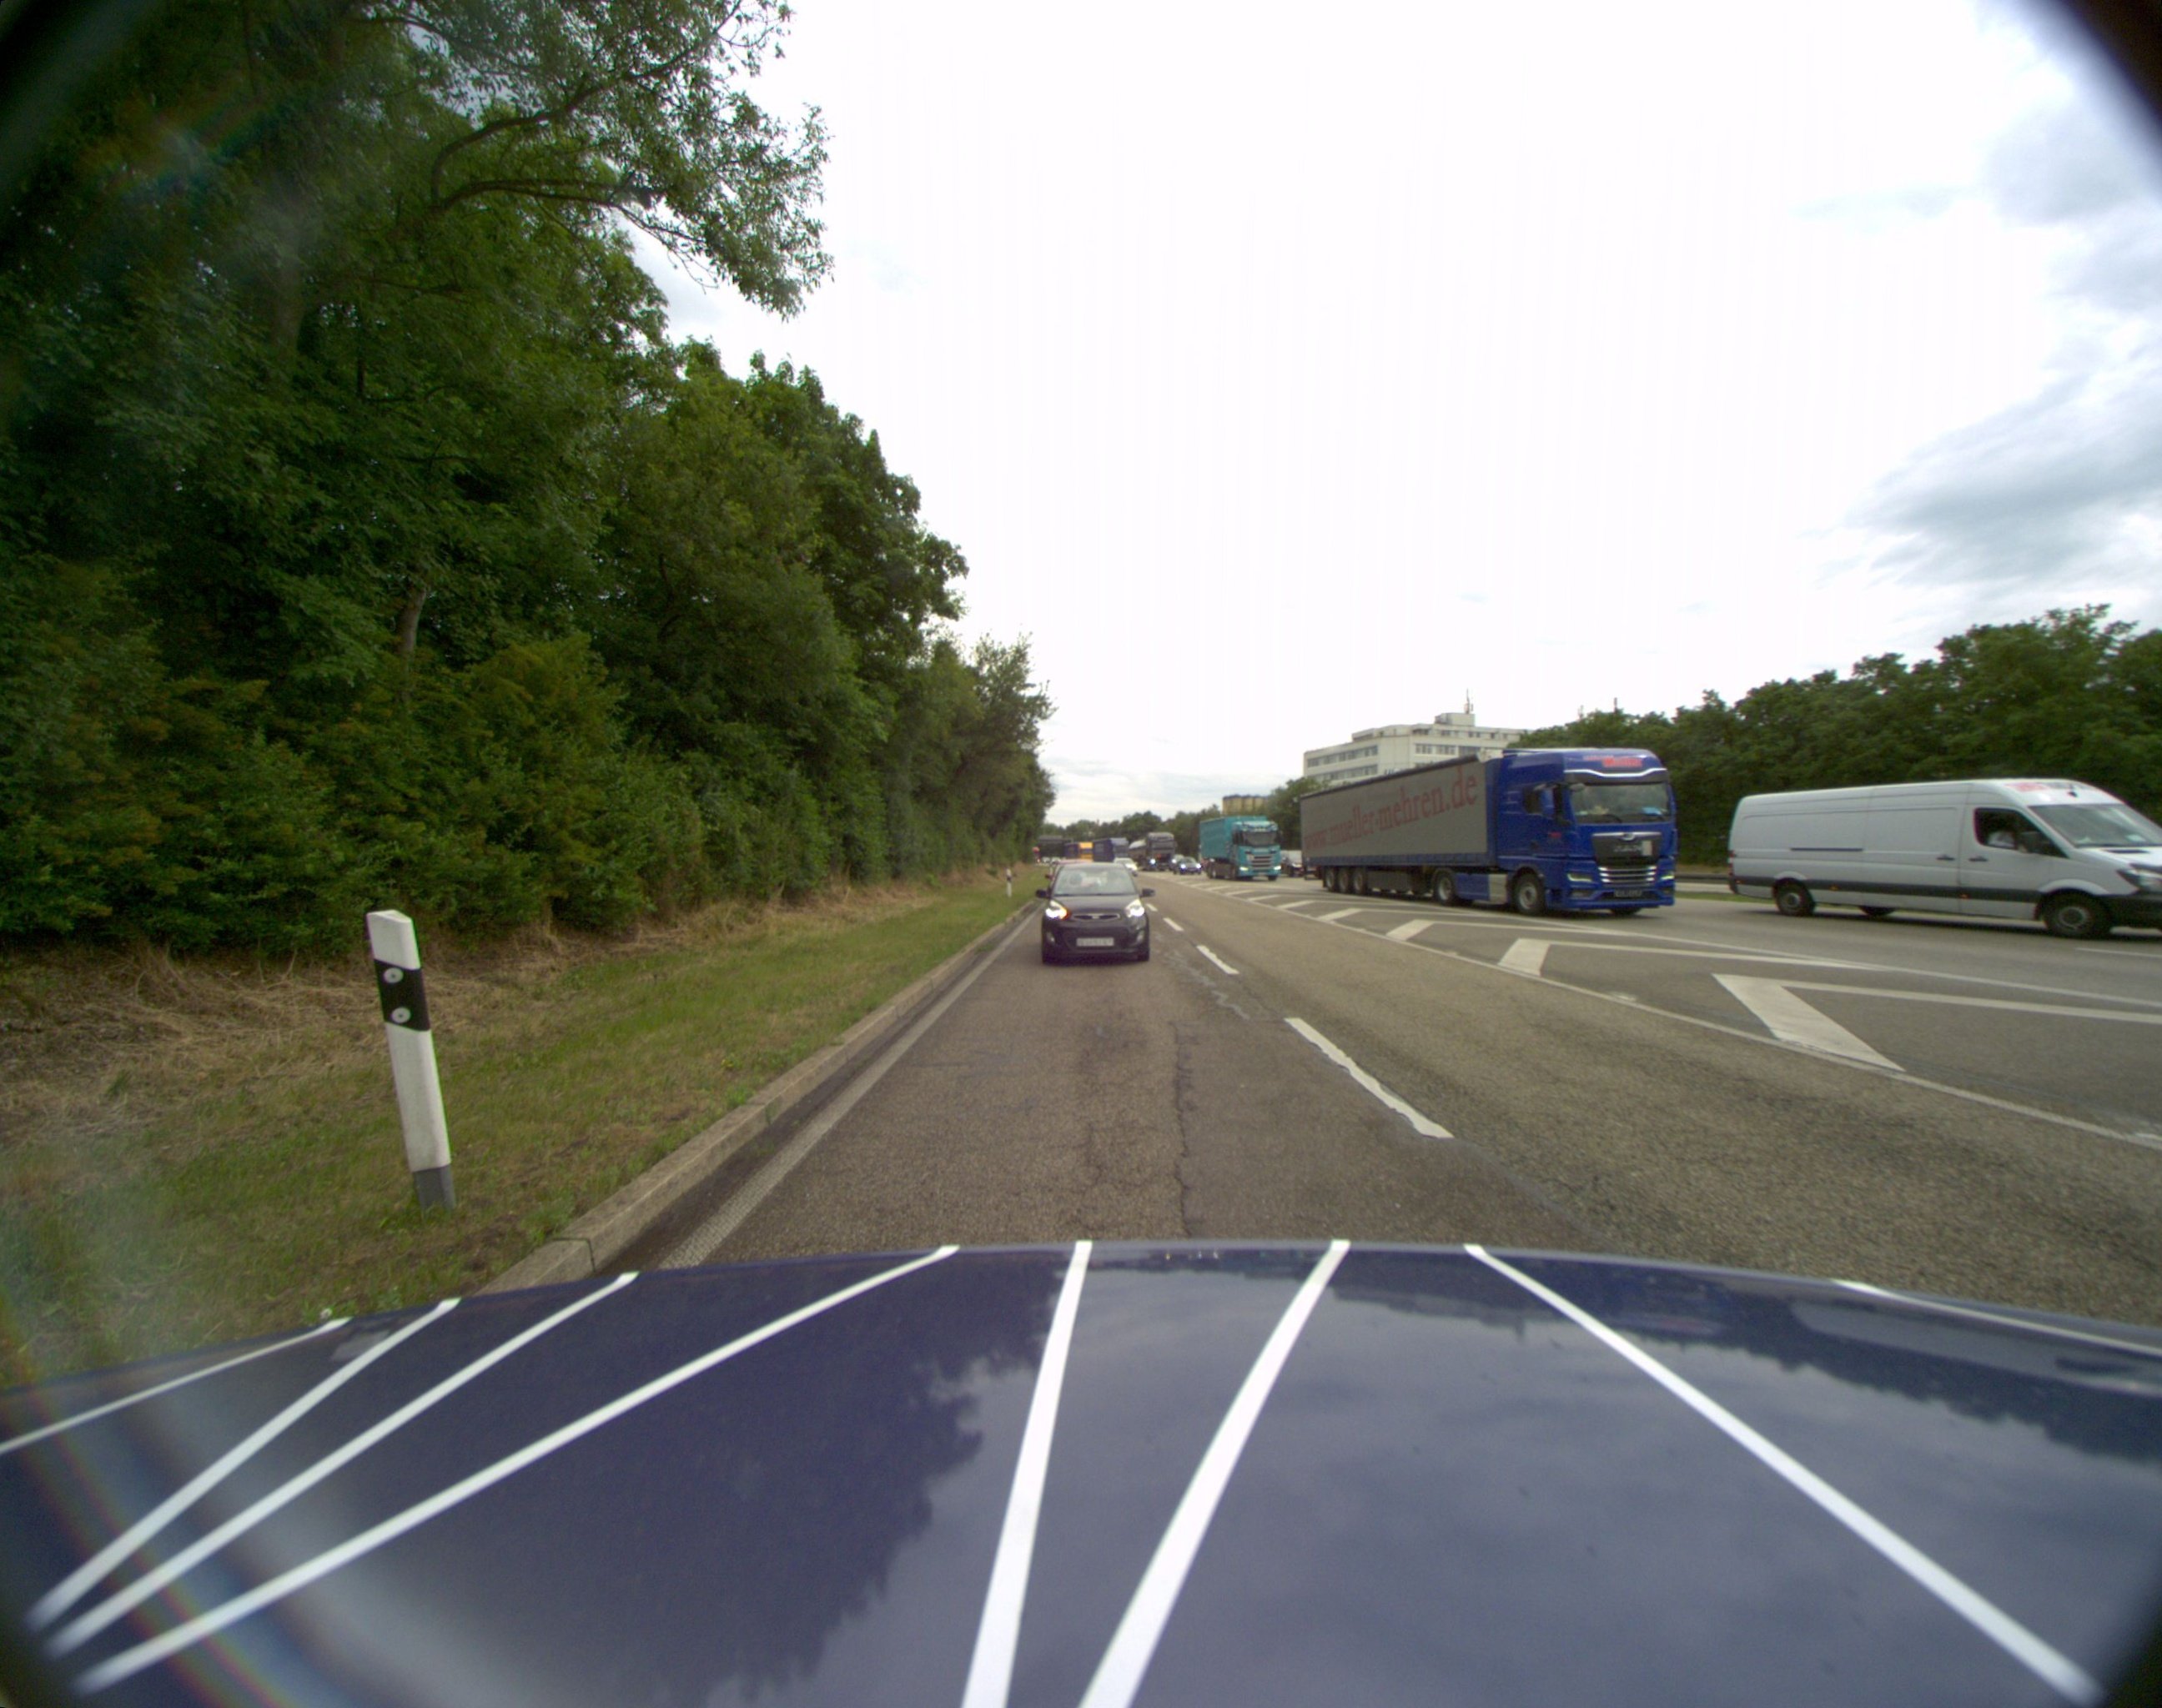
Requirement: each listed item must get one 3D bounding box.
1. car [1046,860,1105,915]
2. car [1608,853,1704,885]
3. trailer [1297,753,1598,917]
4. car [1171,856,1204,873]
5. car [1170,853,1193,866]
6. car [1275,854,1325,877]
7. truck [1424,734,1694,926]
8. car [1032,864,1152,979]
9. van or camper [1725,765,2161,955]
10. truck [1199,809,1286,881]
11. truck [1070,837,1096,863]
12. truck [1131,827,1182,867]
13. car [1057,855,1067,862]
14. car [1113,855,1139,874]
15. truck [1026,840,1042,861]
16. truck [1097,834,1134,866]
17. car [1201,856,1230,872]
[{"bbox_3d":[-0.160,0.943,22.800,1.631,1.492,3.564,0,0,0],"label":"car"},{"bbox_3d":[26.721,0.669,35.441,1.666,1.383,3.549,0,0,-3],"label":"car"},{"bbox_3d":[10.891,-0.478,25.389,2.680,3.951,13.915,-1,0,-3],"label":"trailer"},{"bbox_3d":[8.727,0.863,62.533,1.757,1.314,3.998,-1,0,-5],"label":"car"},{"bbox_3d":[11.604,0.671,87.990,1.999,1.474,3.248,-1,0,-4],"label":"car"},{"bbox_3d":[14.267,0.708,49.710,1.898,1.425,3.999,0,0,-3],"label":"car"},{"bbox_3d":[11.230,-0.510,18.668,2.676,3.938,5.925,-1,0,-3],"label":"truck"},{"bbox_3d":[0.181,0.940,12.248,1.584,1.485,4.000,-1,0,1],"label":"car"},{"bbox_3d":[15.776,0.072,13.856,2.054,2.606,6.954,0,0,-1],"label":"van or camper"},{"bbox_3d":[9.882,-0.505,47.803,2.701,3.977,10.121,-1,0,-4],"label":"truck"},{"bbox_3d":[0.248,-0.667,135.346,2.848,4.206,14.111,-1,0,-7],"label":"truck"},{"bbox_3d":[7.872,-0.677,81.301,3.329,3.902,13.140,-1,0,-4],"label":"truck"},{"bbox_3d":[-3.936,0.893,158.919,1.636,1.328,3.192,0,0,-11],"label":"car"},{"bbox_3d":[3.656,0.810,62.307,1.863,1.455,4.884,-1,0,0],"label":"car"},{"bbox_3d":[-11.864,-0.818,191.830,2.848,5.070,14.111,-1,0,-8],"label":"truck"},{"bbox_3d":[4.669,-0.525,106.460,2.815,4.206,13.998,-1,0,-7],"label":"truck"},{"bbox_3d":[12.934,0.948,73.175,1.898,1.425,4.054,0,0,-3],"label":"car"}]
